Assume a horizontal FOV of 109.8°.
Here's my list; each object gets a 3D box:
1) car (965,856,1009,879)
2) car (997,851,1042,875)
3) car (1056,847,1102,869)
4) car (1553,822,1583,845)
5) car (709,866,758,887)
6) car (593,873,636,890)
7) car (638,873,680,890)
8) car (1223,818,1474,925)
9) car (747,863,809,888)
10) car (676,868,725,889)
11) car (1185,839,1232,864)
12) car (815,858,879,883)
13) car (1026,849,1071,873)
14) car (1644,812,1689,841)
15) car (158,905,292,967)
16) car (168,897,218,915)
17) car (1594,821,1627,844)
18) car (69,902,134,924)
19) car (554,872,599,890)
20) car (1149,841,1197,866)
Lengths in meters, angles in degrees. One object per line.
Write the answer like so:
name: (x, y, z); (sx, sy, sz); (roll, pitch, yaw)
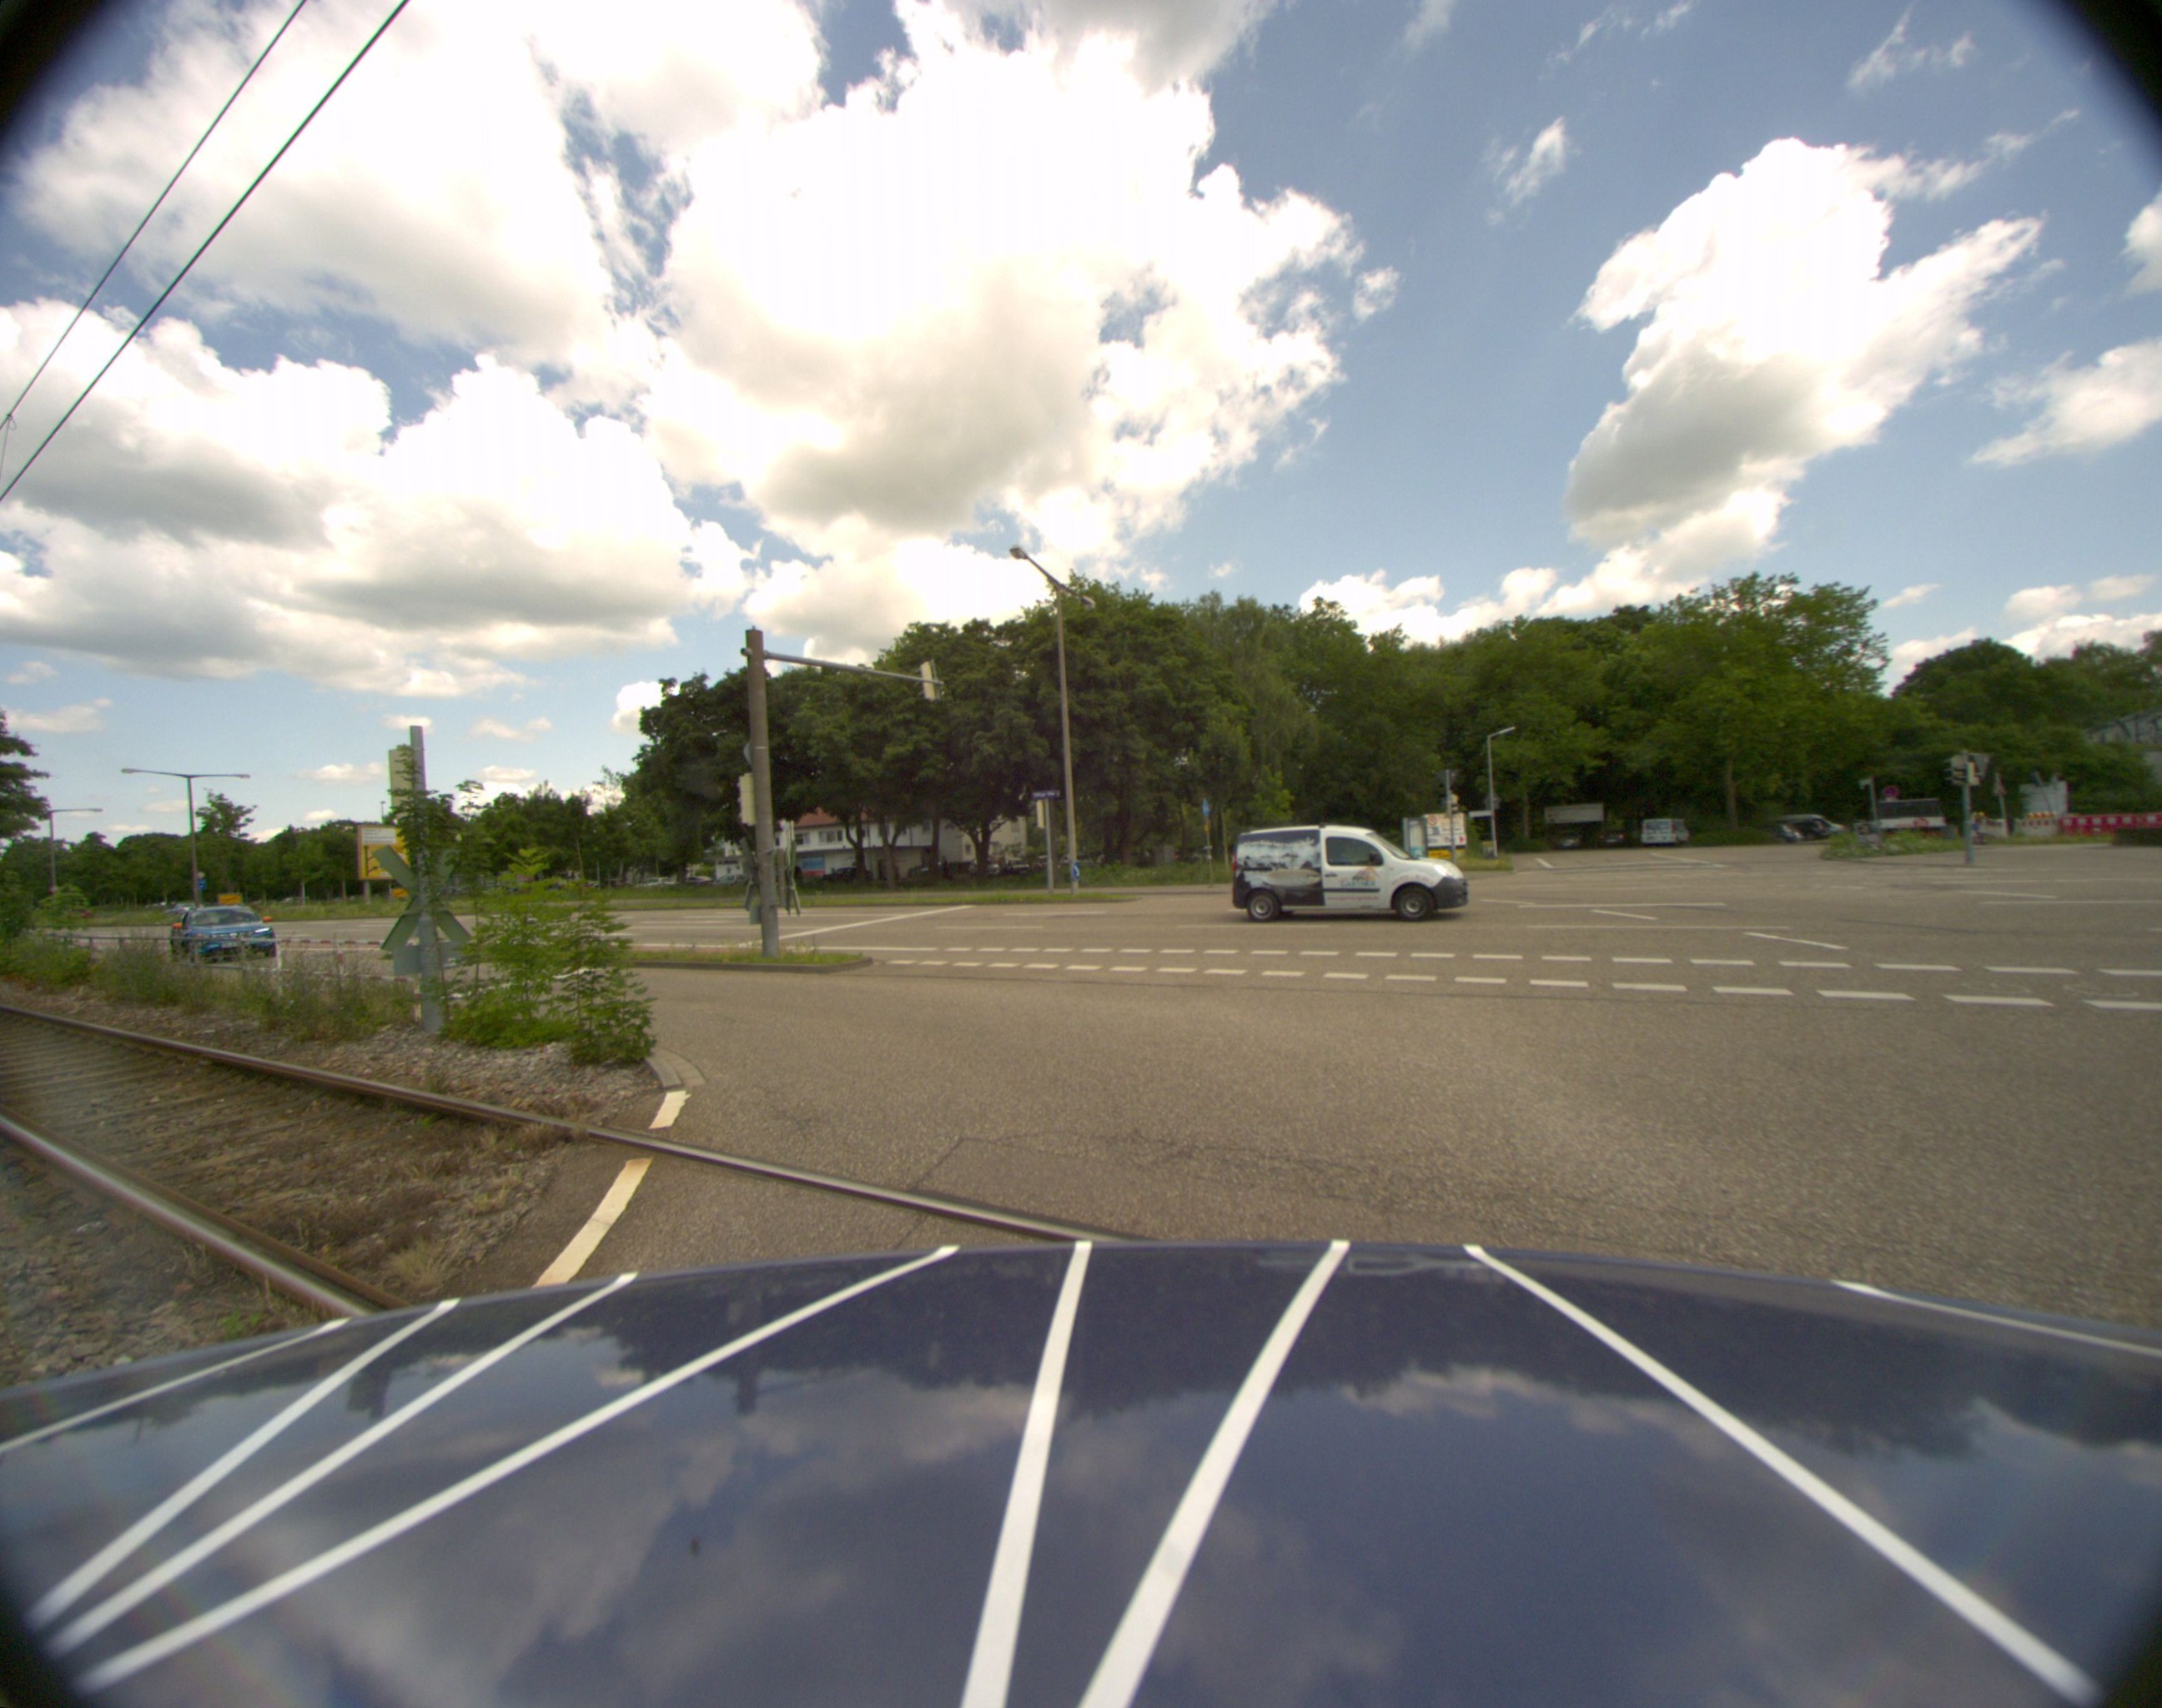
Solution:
car: (-6.960, 0.989, 55.803); (2.002, 1.475, 4.015); (-3, 0, -25)
car: (-4.649, 0.701, 57.048); (2.002, 1.578, 4.015); (-3, 0, -25)
car: (-0.231, 0.321, 59.222); (2.002, 1.536, 4.015); (-3, 0, -25)
car: (36.245, -1.554, 56.643); (1.615, 1.499, 3.625); (-3, 2, 29)
car: (-29.643, 1.920, 64.739); (3.657, 1.578, 1.926); (-3, 0, 29)
car: (-44.269, 2.632, 72.084); (3.856, 1.403, 1.734); (-3, 0, 29)
car: (-38.328, 2.476, 69.014); (3.468, 1.324, 1.629); (-3, 0, 29)
car: (5.030, 0.353, 14.383); (4.145, 1.775, 1.751); (-3, 2, 30)
car: (-24.695, 1.761, 61.826); (4.917, 1.701, 1.892); (-3, 0, 29)
car: (-33.361, 2.137, 66.653); (4.013, 1.578, 1.767); (-3, 0, 29)
car: (9.903, -0.215, 58.748); (1.814, 1.699, 4.135); (-3, 0, 37)
car: (-18.218, 1.287, 59.200); (4.356, 1.648, 1.814); (-3, 2, 18)
car: (-2.531, 0.588, 58.250); (2.002, 1.578, 4.016); (-3, -1, -25)
car: (40.933, -1.920, 53.097); (3.626, 1.783, 1.932); (-5, 2, -44)
car: (-23.457, 2.200, 20.801); (3.694, 1.455, 1.608); (-3, 0, 29)
car: (-80.570, 4.696, 68.923); (4.485, 1.423, 1.808); (-3, 0, 26)
car: (38.512, -1.600, 55.327); (1.615, 1.499, 3.625); (-3, 2, 29)
car: (-107.688, 6.514, 83.567); (1.995, 2.002, 4.006); (-3, 0, 26)
car: (-49.870, 2.648, 75.102); (4.013, 1.578, 2.003); (-3, 0, 29)
car: (7.285, -0.079, 59.826); (1.814, 1.717, 4.135); (-3, 0, 37)
